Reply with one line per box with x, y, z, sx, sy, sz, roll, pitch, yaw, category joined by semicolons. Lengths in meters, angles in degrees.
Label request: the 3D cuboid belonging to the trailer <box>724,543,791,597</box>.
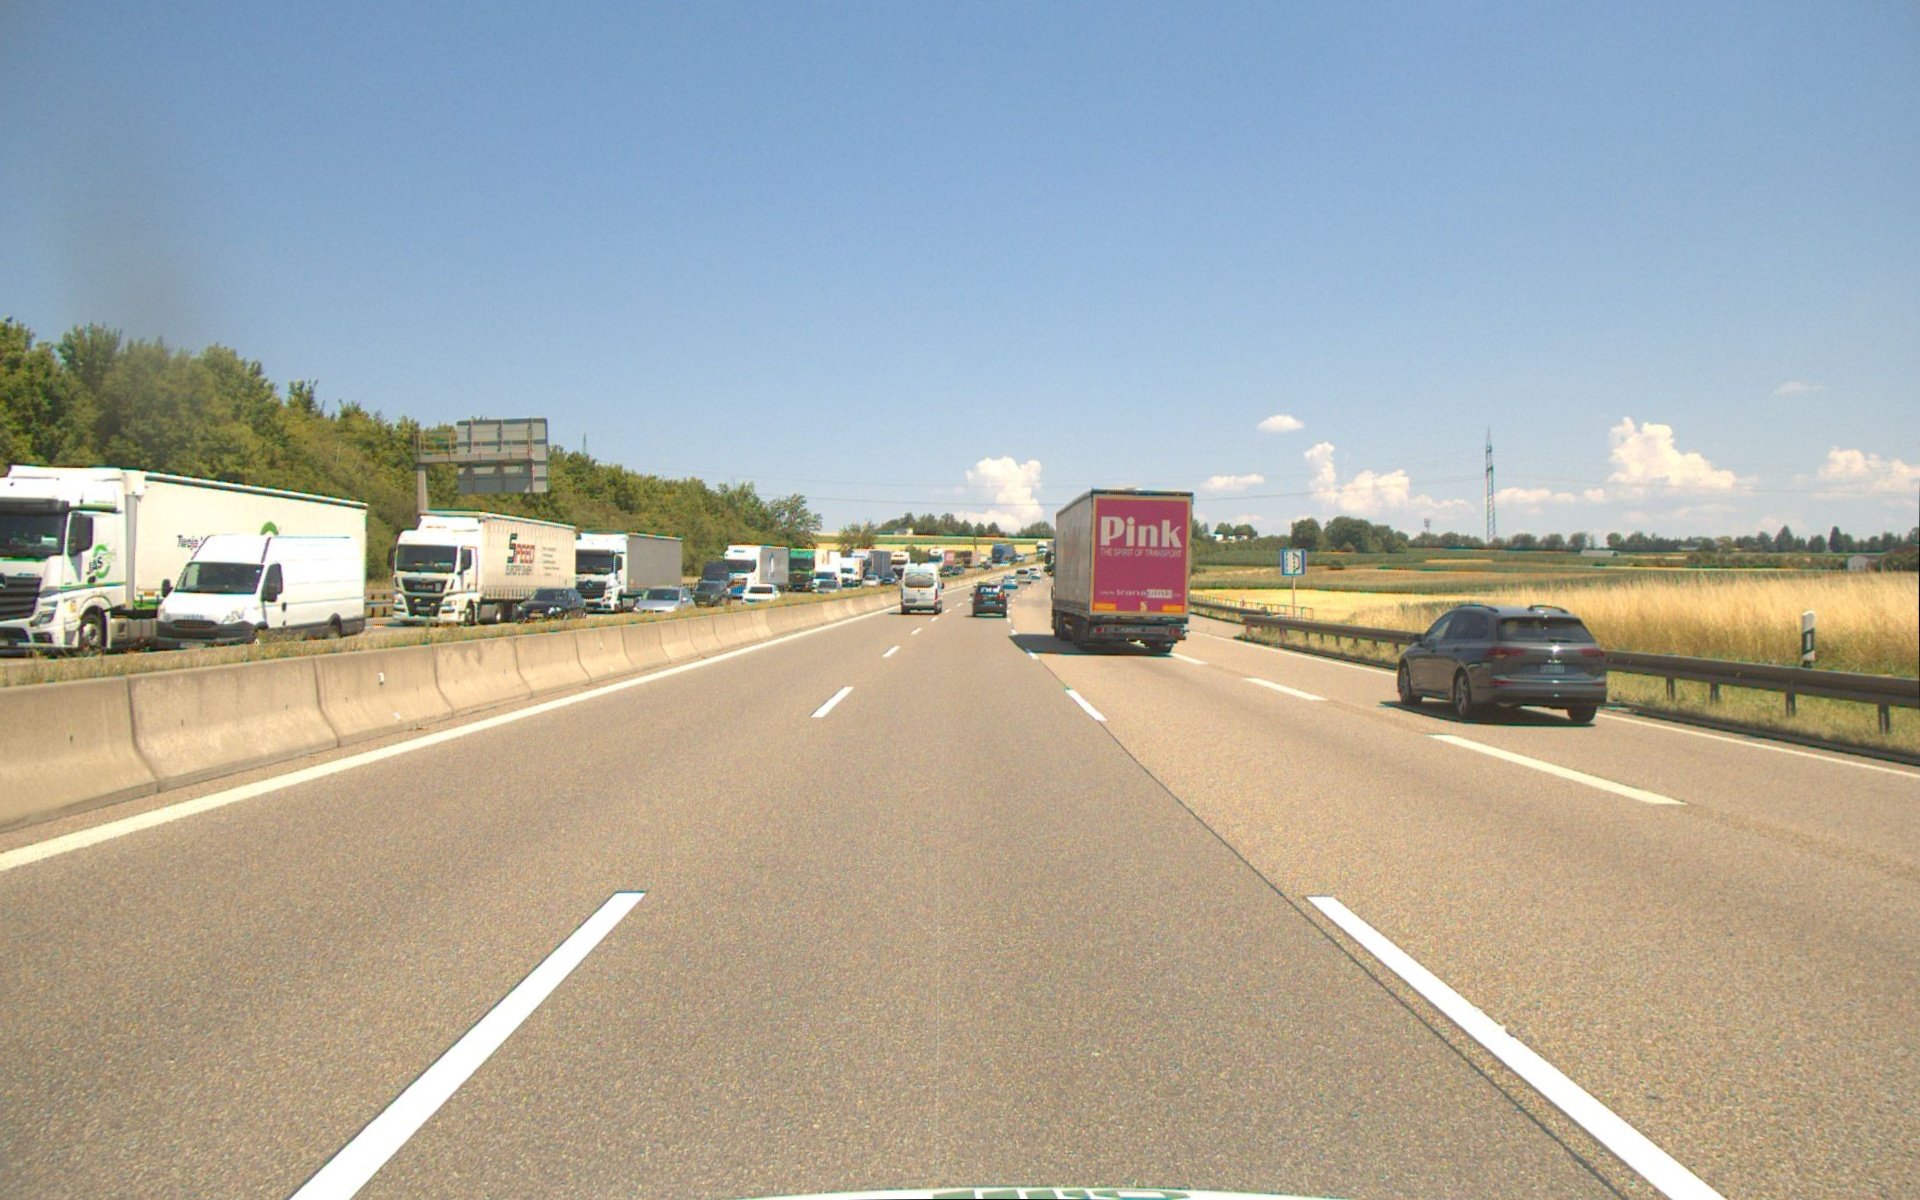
-16.435;-2.463;135.212;2.842;4.157;14.453;0;1;3;trailer

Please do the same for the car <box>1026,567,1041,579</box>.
10.699;-3.988;240.868;1.951;1.578;4.004;2;3;6;car

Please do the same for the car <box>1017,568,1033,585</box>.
8.108;-2.918;206.967;1.952;1.937;4.001;1;0;2;car

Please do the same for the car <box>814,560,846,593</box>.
-11.731;-2.084;149.446;2.095;2.835;6.626;1;0;2;car

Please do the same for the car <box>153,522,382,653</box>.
-15.227;-0.269;36.983;1.858;2.619;7.573;0;0;0;car

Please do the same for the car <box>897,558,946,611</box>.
-1.963;-0.765;86.148;2.134;2.670;4.674;1;0;3;car

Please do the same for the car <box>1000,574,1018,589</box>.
5.421;-2.002;182.504;1.952;1.612;4.002;0;1;3;car

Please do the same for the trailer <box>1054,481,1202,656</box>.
4.468;-0.881;47.015;2.858;4.189;13.860;1;1;0;trailer

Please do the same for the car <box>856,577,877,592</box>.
-10.089;-1.663;178.493;1.715;1.486;4.860;1;0;2;car

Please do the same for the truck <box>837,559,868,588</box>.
-12.209;-3.047;188.099;2.485;3.263;7.593;1;1;4;truck

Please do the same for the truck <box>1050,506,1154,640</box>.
4.544;-0.894;54.208;2.856;4.078;6.512;1;1;0;truck

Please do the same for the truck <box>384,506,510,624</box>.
-18.909;-1.273;61.367;2.698;4.113;6.099;1;1;0;truck

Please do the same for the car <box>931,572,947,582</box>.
-3.236;-3.622;257.559;1.951;1.554;4.776;1;1;4;car

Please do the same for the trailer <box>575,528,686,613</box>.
-18.052;-1.549;91.811;2.920;4.280;14.197;1;0;2;trailer

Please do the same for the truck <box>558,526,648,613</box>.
-18.305;-1.544;85.191;2.900;4.283;6.606;1;0;2;truck

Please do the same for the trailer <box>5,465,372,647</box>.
-19.225;-0.991;42.860;2.843;3.941;13.878;0;0;1;trailer

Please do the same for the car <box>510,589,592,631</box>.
-15.340;0.342;62.238;1.838;1.459;4.925;1;1;0;car

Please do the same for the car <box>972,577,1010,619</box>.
1.524;-0.134;82.963;1.809;1.893;4.207;0;3;0;car

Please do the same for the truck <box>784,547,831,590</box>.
-14.880;-3.117;162.133;2.783;3.966;11.254;-1;1;4;truck

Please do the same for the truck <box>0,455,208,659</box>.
-19.273;-0.886;36.252;2.789;4.077;5.975;0;0;1;truck

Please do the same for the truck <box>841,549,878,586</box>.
-12.201;-3.992;201.085;2.938;4.307;10.742;0;2;5;truck

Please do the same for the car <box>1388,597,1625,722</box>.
7.298;0.746;22.580;1.725;1.496;4.536;1;0;0;car

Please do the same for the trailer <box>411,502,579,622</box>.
-18.771;-1.487;68.020;2.753;4.353;13.871;1;1;1;trailer

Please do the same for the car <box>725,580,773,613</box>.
-10.912;-0.173;85.774;1.953;1.672;4.406;0;0;0;car

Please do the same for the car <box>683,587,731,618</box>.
-14.389;0.115;94.369;1.952;1.745;4.792;0;0;1;car

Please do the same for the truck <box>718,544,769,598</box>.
-16.774;-2.244;128.278;2.793;4.107;6.607;0;1;2;truck

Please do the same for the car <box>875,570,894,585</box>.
-8.807;-2.626;193.214;1.822;1.670;5.115;0;0;3;car

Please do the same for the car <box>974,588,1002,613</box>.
2.076;0.019;121.795;1.952;1.780;4.000;1;0;1;car

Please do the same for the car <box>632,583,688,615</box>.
-14.517;-0.026;80.170;1.842;1.500;4.407;0;0;1;car

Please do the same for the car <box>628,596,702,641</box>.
-11.096;0.649;62.399;1.953;1.606;4.595;0;0;0;car

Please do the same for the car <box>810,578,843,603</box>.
-9.540;-0.684;118.786;1.892;1.718;4.797;0;1;1;car
